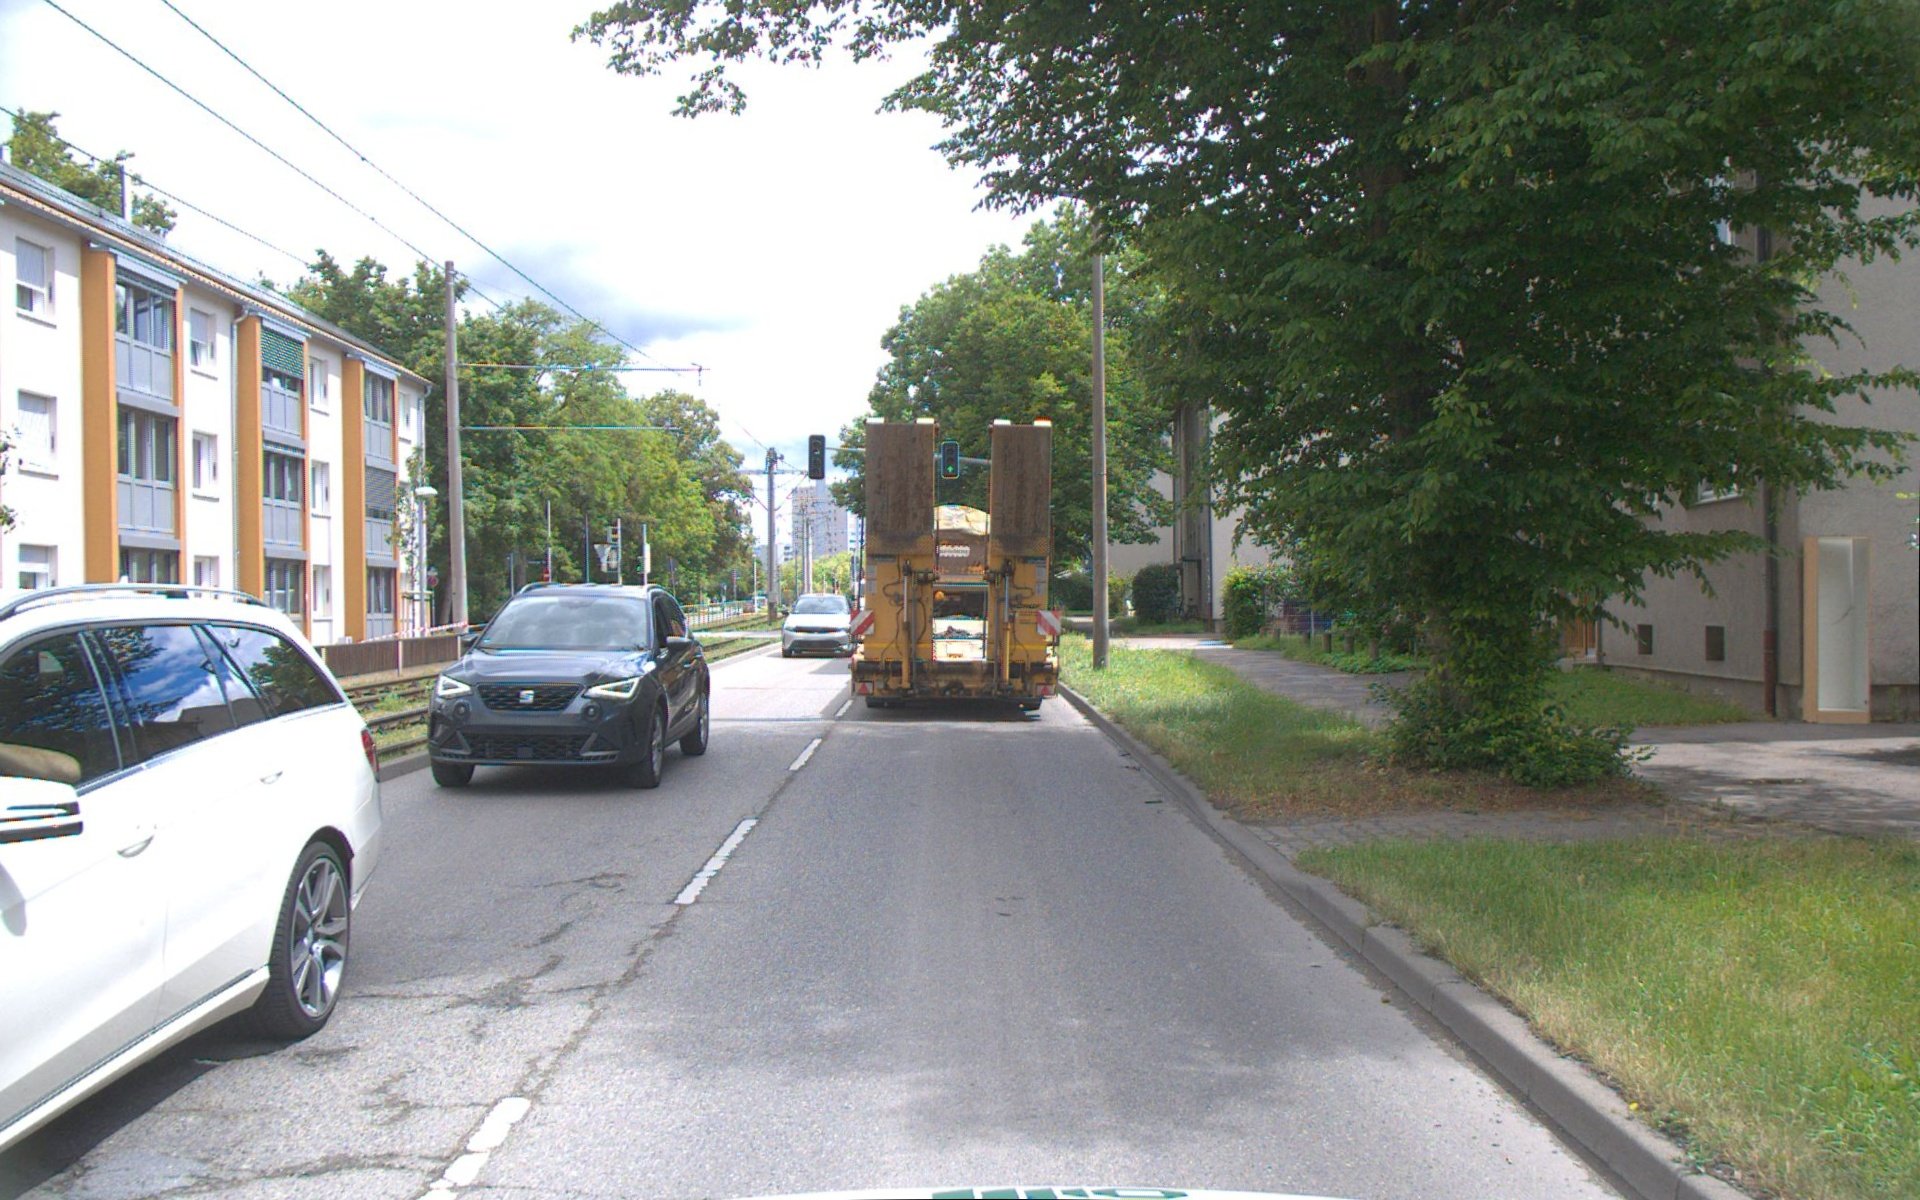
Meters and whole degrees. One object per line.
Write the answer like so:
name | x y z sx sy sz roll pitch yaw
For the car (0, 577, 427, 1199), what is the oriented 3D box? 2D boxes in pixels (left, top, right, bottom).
car | -2.988 0.688 4.260 1.841 1.507 4.527 1 0 -1

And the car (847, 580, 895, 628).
car | -3.809 0.158 71.465 1.903 1.974 4.316 0 0 -1

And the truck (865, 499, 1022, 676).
truck | -0.361 -0.255 34.341 2.858 3.222 7.679 1 0 -1

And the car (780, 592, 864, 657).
car | -3.231 0.546 39.403 1.695 1.442 3.983 0 0 -1

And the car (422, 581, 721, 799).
car | -3.052 0.633 13.744 1.617 1.547 3.865 0 0 -1

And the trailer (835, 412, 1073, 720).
trailer | -0.193 -0.419 24.991 2.765 3.585 11.049 1 0 -1
